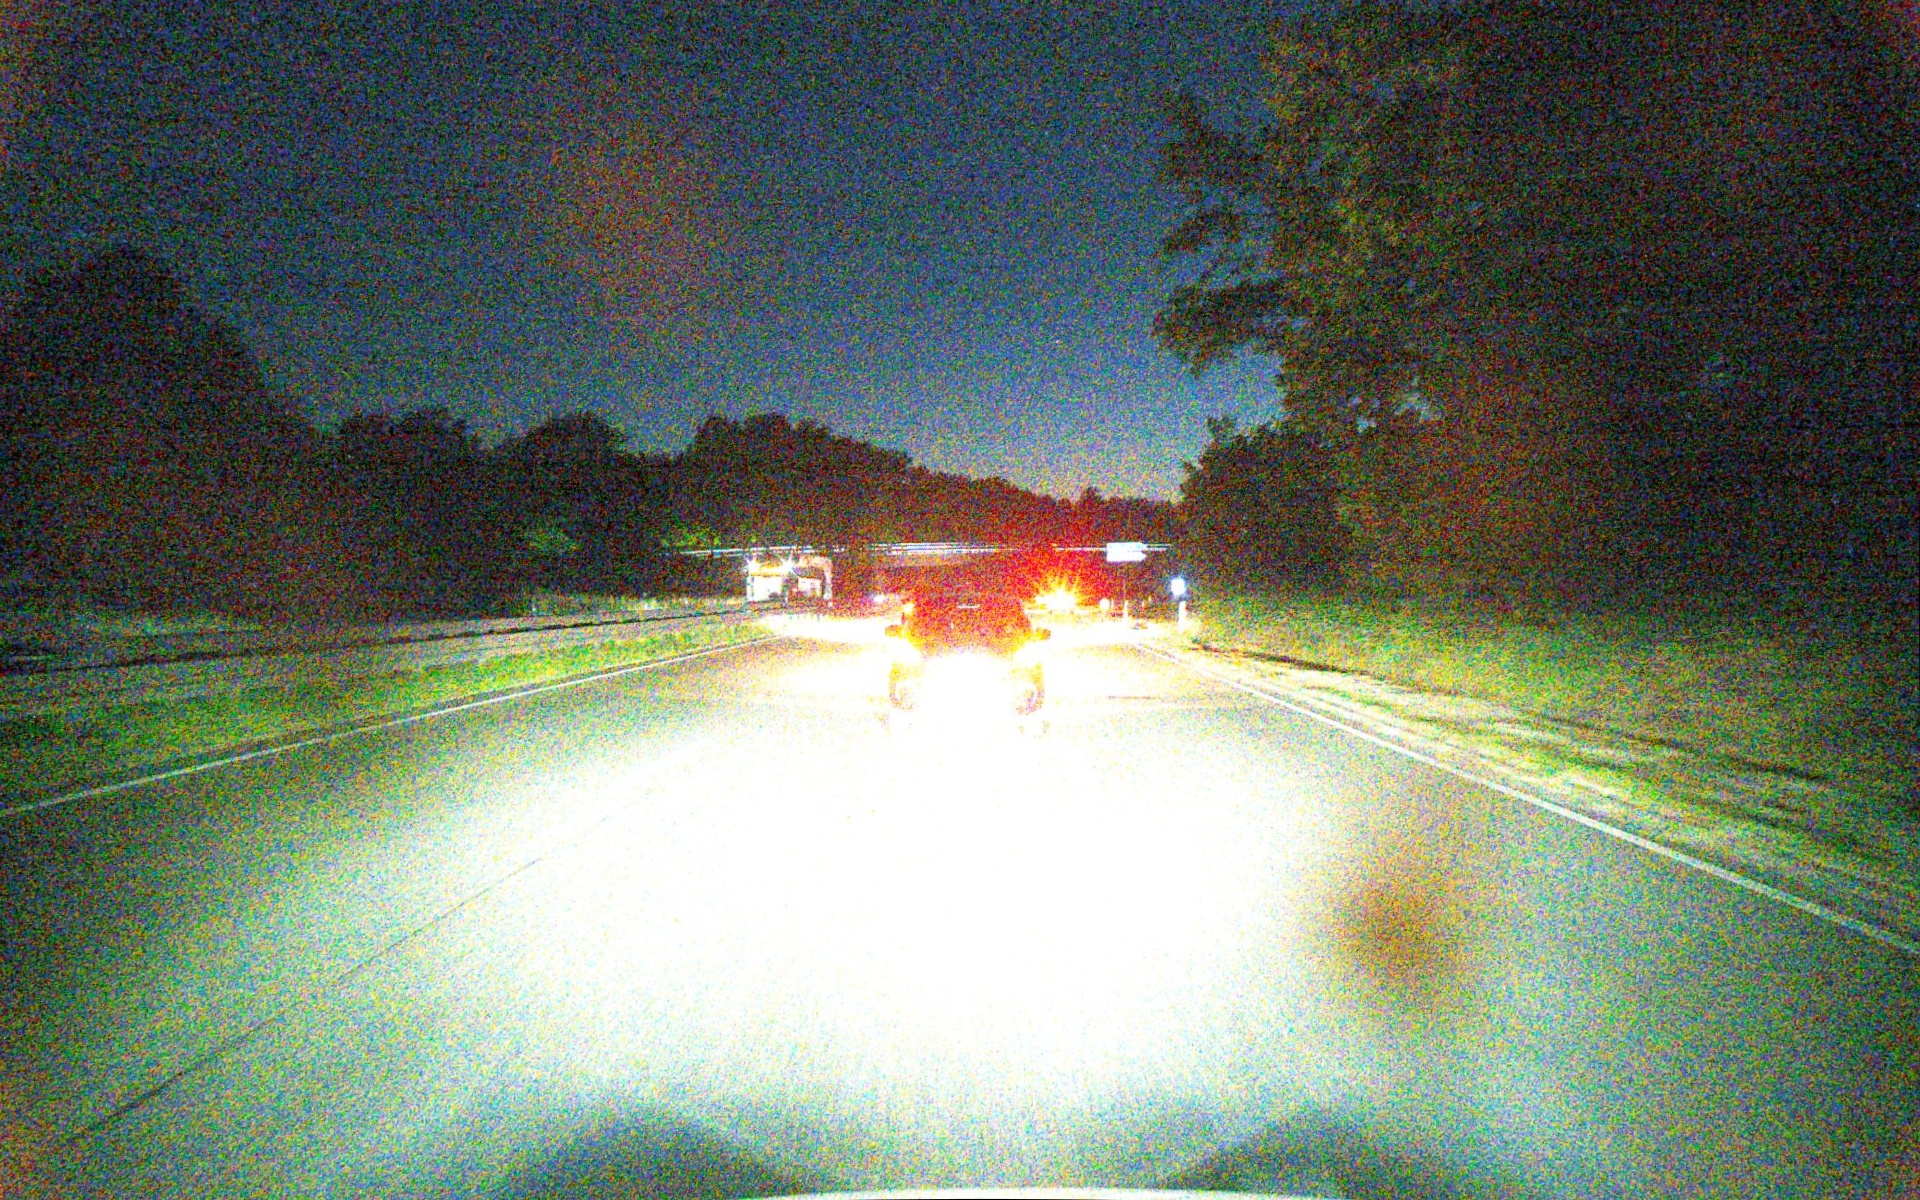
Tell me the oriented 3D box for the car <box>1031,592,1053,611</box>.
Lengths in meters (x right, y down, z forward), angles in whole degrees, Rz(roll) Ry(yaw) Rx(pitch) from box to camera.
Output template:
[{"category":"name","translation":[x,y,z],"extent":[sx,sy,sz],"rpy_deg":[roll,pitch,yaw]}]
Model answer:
[{"category":"car","translation":[7.680,0.153,155.671],"extent":[1.911,1.564,4.241],"rpy_deg":[-4,-1,2]}]

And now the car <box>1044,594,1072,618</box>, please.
[{"category":"car","translation":[6.704,0.396,113.504],"extent":[1.698,1.646,3.798],"rpy_deg":[0,0,0]}]

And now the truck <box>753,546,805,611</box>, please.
[{"category":"truck","translation":[-12.228,-1.440,112.298],"extent":[2.620,4.250,5.870],"rpy_deg":[0,0,3]}]

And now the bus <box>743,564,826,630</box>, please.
[{"category":"bus","translation":[-9.561,-0.251,91.670],"extent":[2.863,3.446,12.311],"rpy_deg":[0,1,2]}]

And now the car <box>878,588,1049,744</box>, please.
[{"category":"car","translation":[0.076,0.642,18.216],"extent":[1.656,1.503,4.001],"rpy_deg":[1,0,1]}]

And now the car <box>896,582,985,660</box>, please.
[{"category":"car","translation":[-0.381,0.432,37.833],"extent":[1.900,1.636,4.644],"rpy_deg":[1,0,1]}]
